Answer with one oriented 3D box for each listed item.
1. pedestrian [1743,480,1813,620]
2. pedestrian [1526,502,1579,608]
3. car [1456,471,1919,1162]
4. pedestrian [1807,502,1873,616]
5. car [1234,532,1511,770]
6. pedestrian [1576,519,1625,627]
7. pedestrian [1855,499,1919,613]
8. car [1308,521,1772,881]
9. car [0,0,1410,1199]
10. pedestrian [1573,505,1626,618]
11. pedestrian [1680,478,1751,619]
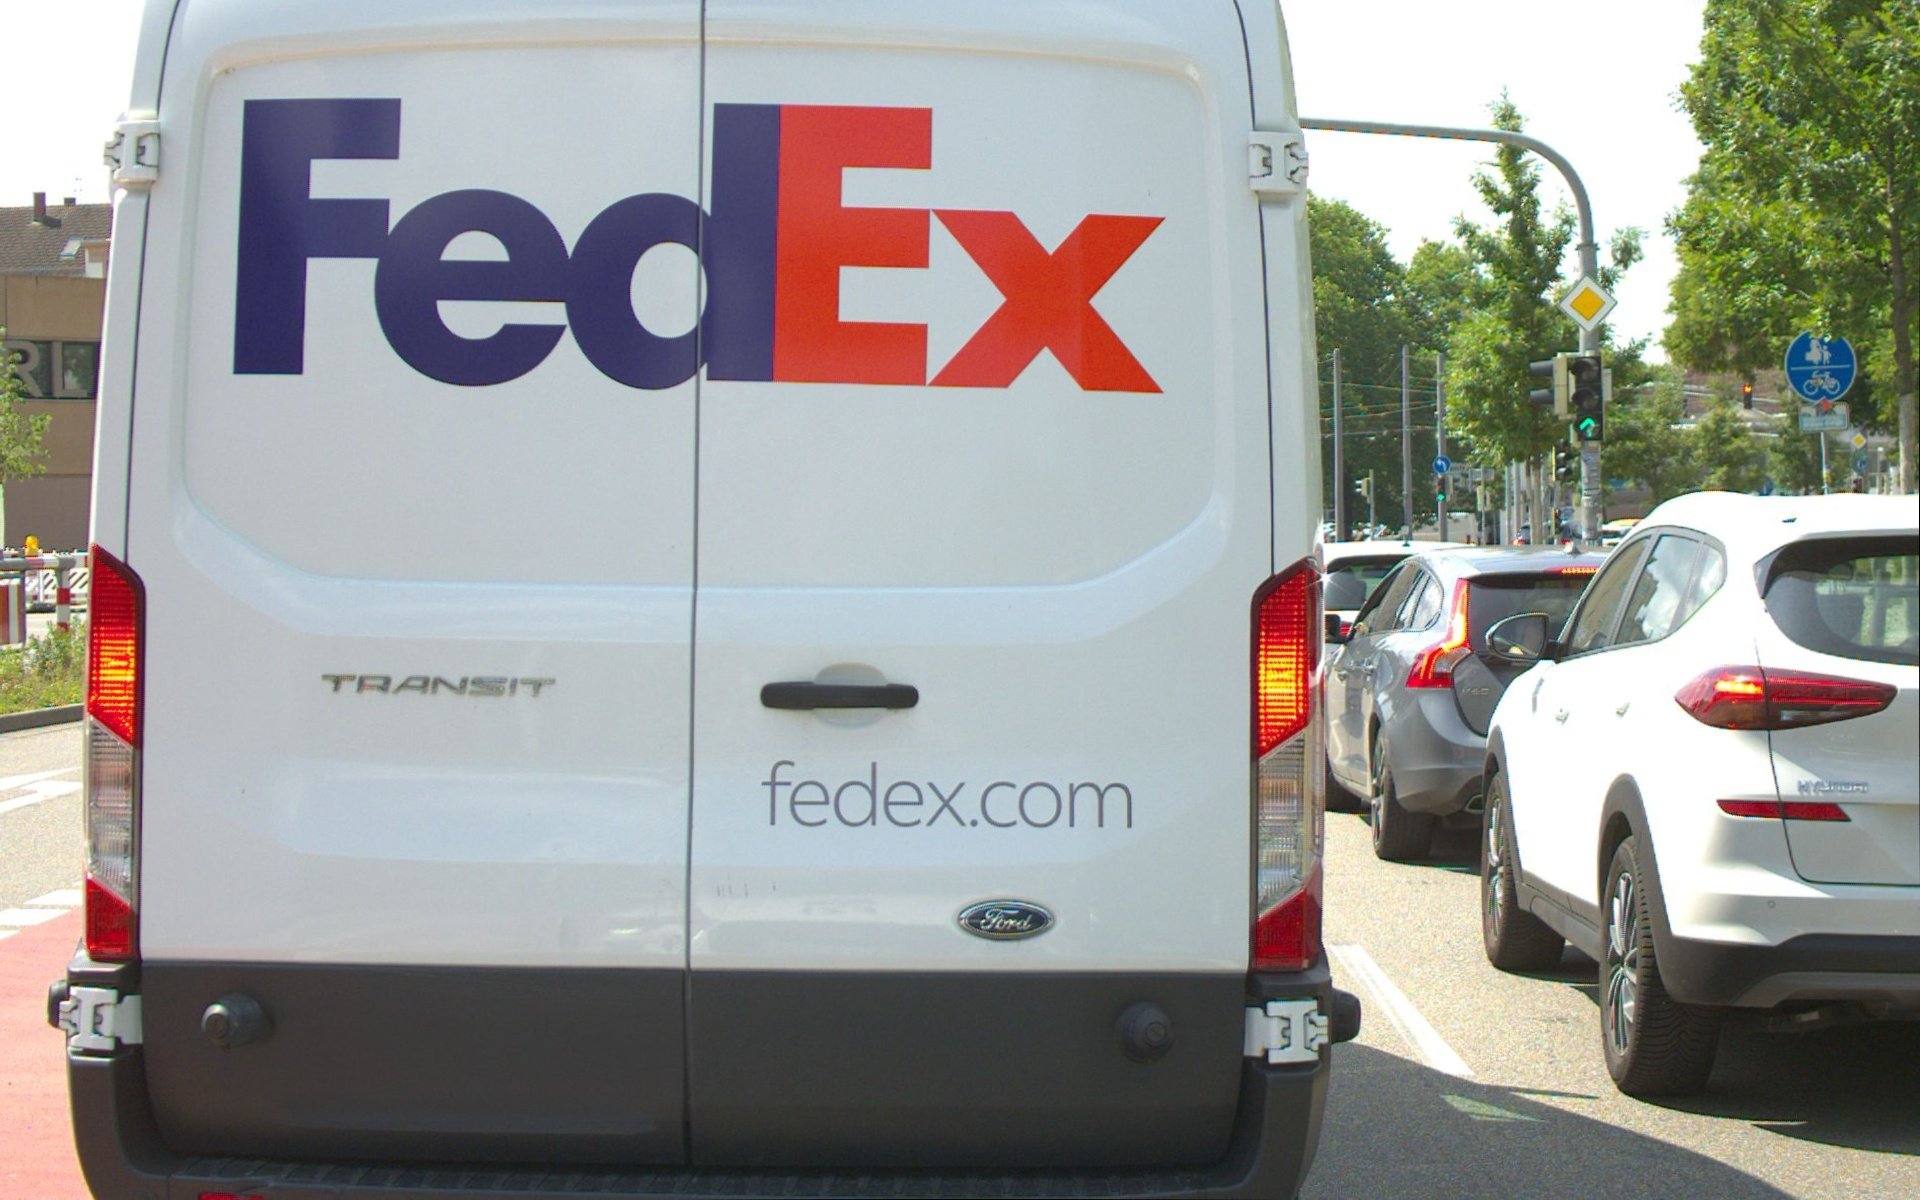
[{"bbox_3d":[10.919,-0.677,45.900,0.759,1.843,0.816,-1,1,3],"label":"pedestrian"},{"bbox_3d":[10.320,-0.789,59.924,0.813,1.843,0.761,0,1,3],"label":"pedestrian"},{"bbox_3d":[2.655,0.470,10.302,1.814,1.673,3.974,0,1,1],"label":"car"},{"bbox_3d":[14.332,-0.674,56.026,0.758,1.843,0.816,-1,1,-10],"label":"pedestrian"},{"bbox_3d":[2.722,0.284,23.266,1.499,1.459,3.474,0,1,1],"label":"car"},{"bbox_3d":[11.003,-0.464,59.041,0.759,1.843,0.816,0,1,15],"label":"pedestrian"},{"bbox_3d":[15.164,-0.731,56.207,0.758,1.843,0.816,-1,1,-8],"label":"pedestrian"},{"bbox_3d":[2.711,0.400,16.816,1.691,1.543,3.720,0,1,1],"label":"car"},{"bbox_3d":[-0.354,0.073,7.197,2.072,2.572,4.428,0,1,1],"label":"car"},{"bbox_3d":[10.546,-0.643,56.681,0.759,1.843,0.815,0,1,18],"label":"pedestrian"},{"bbox_3d":[9.971,-0.685,45.402,0.759,1.843,0.816,-1,1,1],"label":"pedestrian"}]
